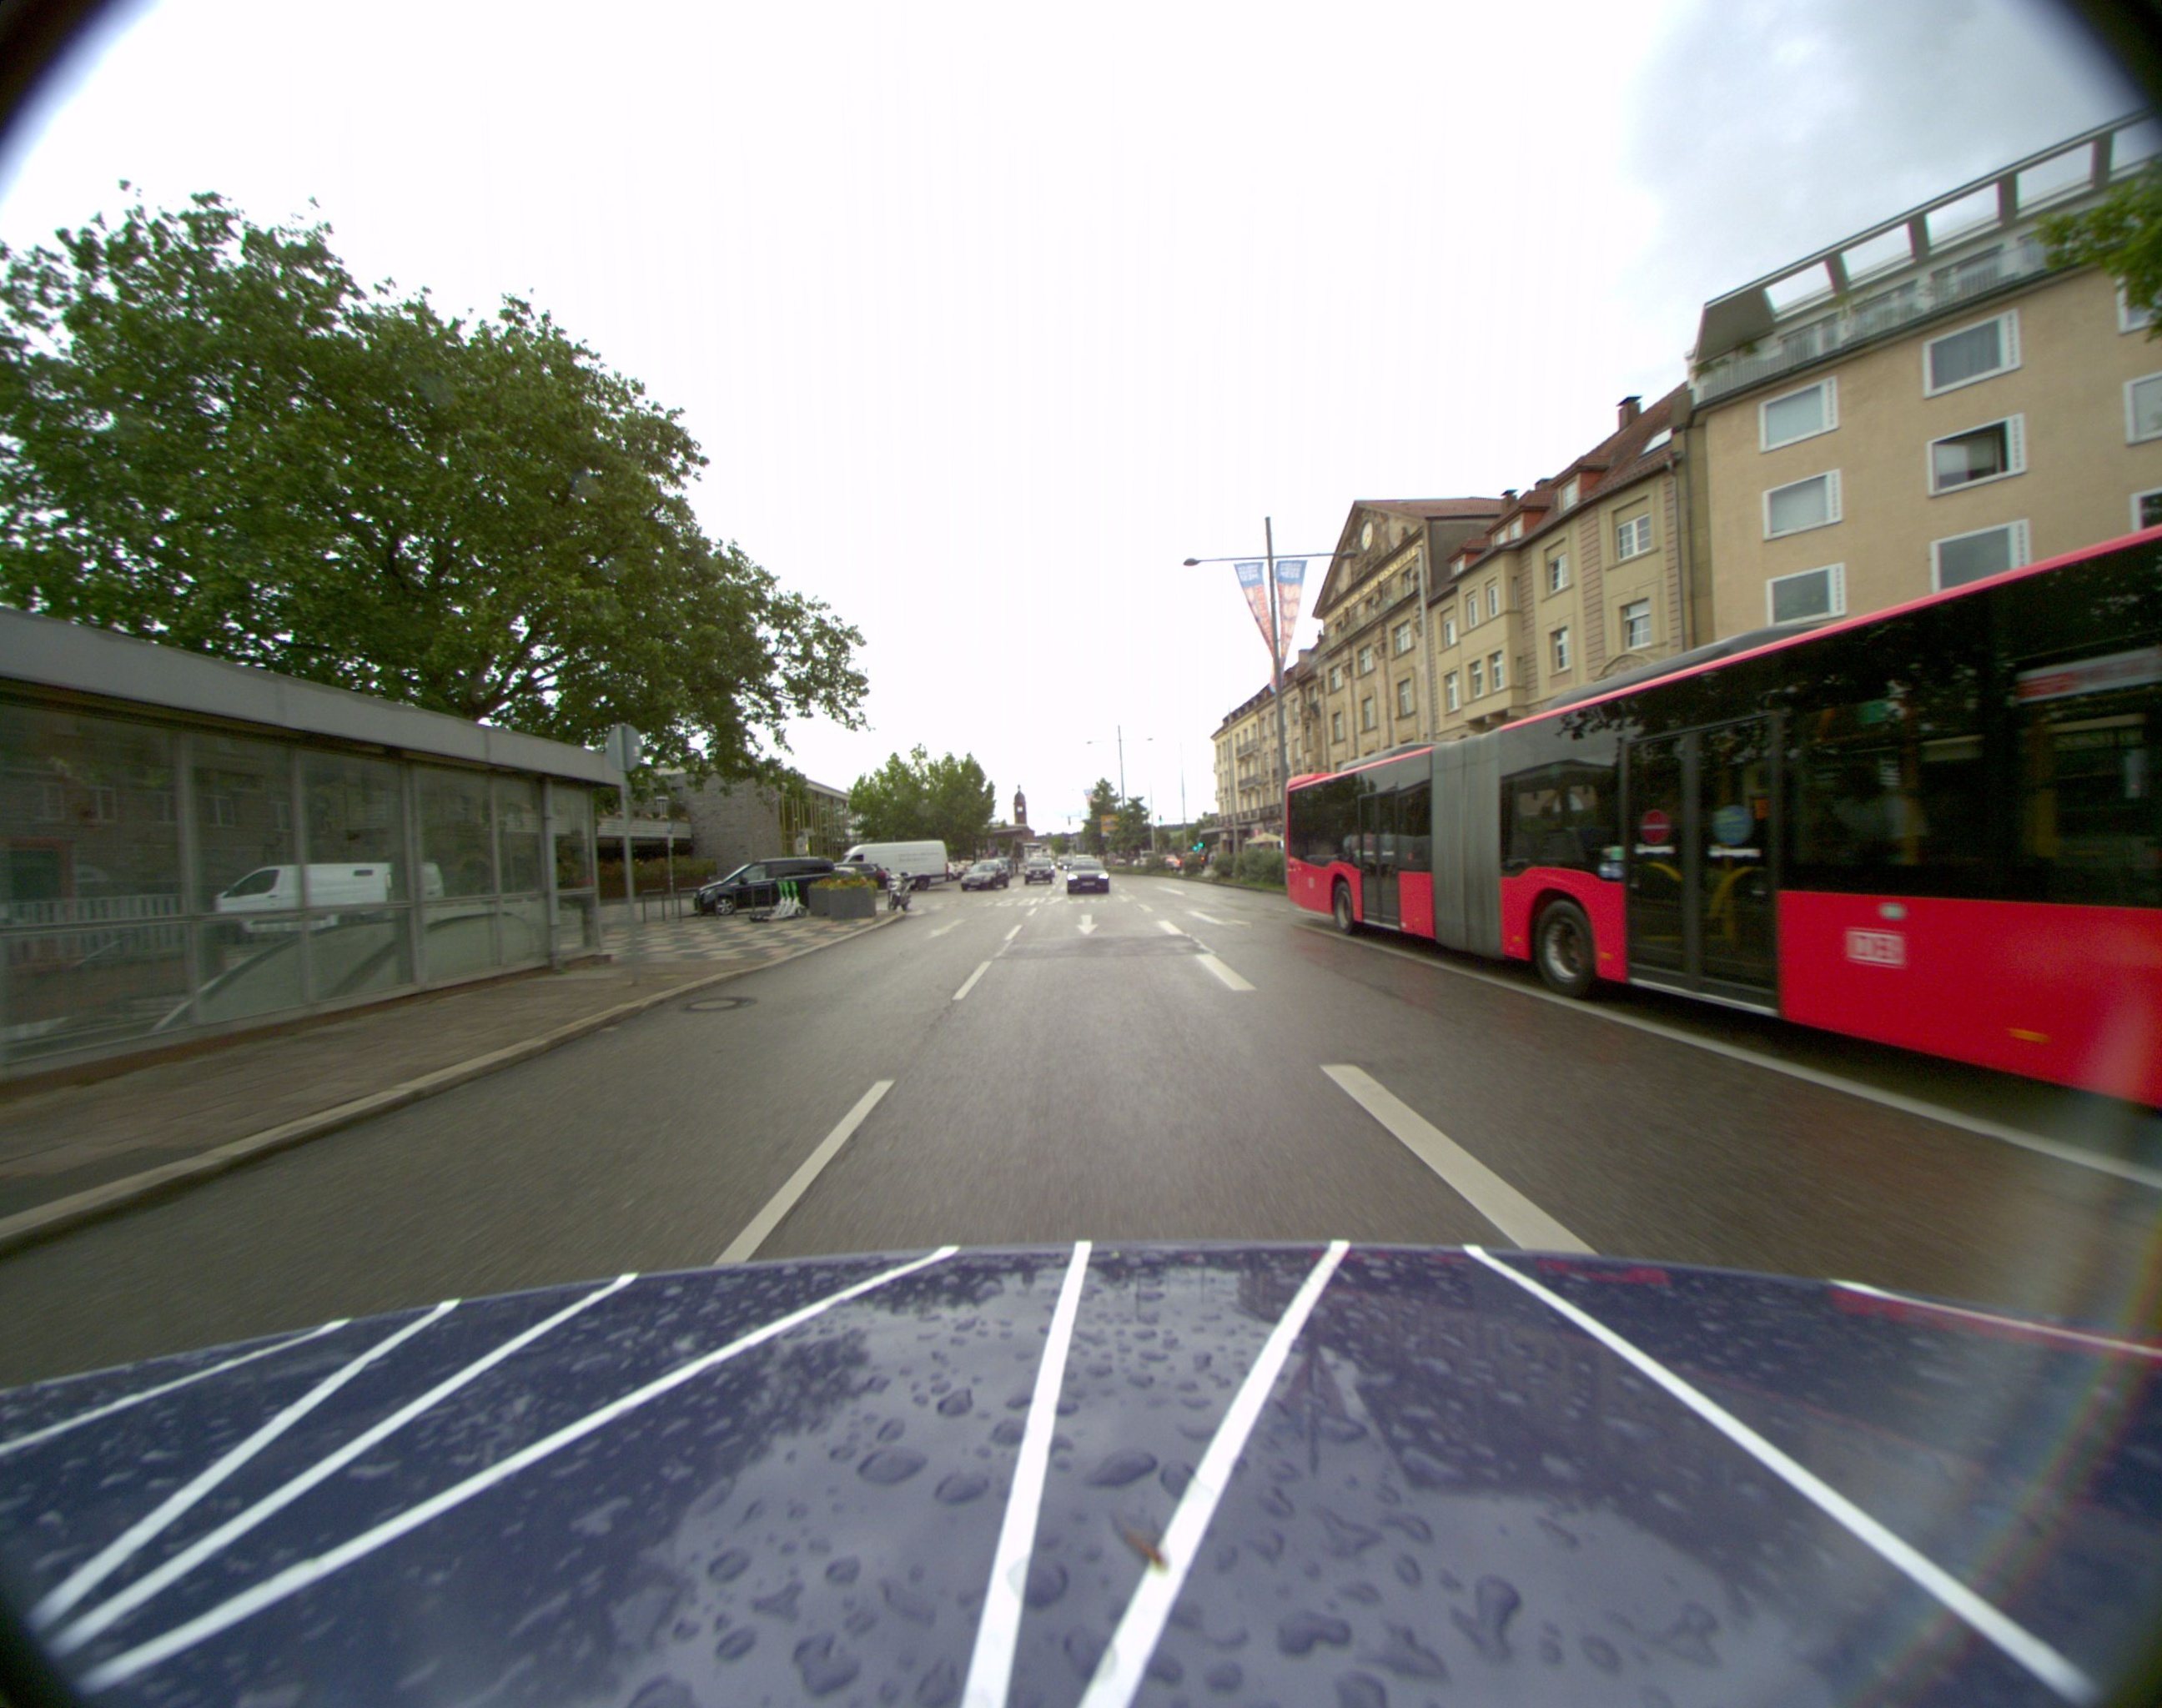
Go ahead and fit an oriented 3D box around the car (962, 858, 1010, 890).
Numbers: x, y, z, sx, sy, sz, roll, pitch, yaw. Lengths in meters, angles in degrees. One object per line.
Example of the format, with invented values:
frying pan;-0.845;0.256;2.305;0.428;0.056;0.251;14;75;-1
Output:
car;-4.896;0.995;39.565;1.871;1.466;3.826;-2;0;2

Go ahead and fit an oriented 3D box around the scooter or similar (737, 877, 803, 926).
scooter or similar;-8.483;1.285;20.811;1.067;1.149;1.667;-3;1;0

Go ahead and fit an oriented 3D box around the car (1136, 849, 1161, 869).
car;7.197;0.529;81.493;1.926;1.962;4.853;-2;0;-5

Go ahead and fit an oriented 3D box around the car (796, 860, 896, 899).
car;-11.244;1.197;36.383;4.243;1.625;1.880;-2;0;-29

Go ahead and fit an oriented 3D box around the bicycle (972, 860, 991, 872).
bicycle;-9.332;1.142;71.394;1.724;1.040;0.523;-3;1;-43

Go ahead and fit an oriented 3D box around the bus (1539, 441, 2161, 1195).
bus;5.839;-0.177;2.948;2.759;3.114;8.842;-2;0;0

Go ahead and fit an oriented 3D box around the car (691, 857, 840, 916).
car;-11.481;1.106;27.739;4.707;1.864;2.104;-2;0;-32

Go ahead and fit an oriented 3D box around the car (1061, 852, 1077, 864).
car;-1.570;0.520;95.840;1.984;1.438;3.907;-1;0;-2

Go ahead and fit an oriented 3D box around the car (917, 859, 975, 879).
car;-10.302;1.129;57.989;3.937;1.391;1.775;-2;0;-29

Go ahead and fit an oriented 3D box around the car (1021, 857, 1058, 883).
car;-2.444;0.929;45.797;1.871;1.466;3.826;-2;0;2

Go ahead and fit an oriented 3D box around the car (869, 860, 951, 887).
car;-10.434;1.150;46.472;4.477;1.462;1.915;-2;0;-30

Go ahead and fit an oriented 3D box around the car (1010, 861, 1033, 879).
car;-5.343;1.419;68.516;1.661;1.466;3.589;-2;0;1

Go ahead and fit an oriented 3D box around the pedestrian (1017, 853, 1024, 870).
pedestrian;-6.125;0.736;76.688;0.560;1.741;0.700;-1;1;4

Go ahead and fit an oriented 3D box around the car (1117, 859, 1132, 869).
car;6.810;1.605;119.814;1.847;1.455;5.029;-2;0;-2

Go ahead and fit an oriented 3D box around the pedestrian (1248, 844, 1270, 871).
pedestrian;13.730;0.265;58.644;0.679;1.896;0.766;31;-9;-4

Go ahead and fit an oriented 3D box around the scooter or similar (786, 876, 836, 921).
scooter or similar;-7.497;1.219;21.149;0.413;1.148;1.265;-4;-1;31

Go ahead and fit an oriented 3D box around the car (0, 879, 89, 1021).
car;-16.722;1.364;9.812;4.698;1.864;2.108;-2;0;-4

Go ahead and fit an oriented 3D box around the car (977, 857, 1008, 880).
car;-6.100;0.966;52.672;1.661;1.466;3.589;-2;0;1

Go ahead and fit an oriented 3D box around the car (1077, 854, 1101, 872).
car;0.697;0.721;64.391;1.983;1.438;3.908;-1;0;1

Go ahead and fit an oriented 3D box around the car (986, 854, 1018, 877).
car;-5.991;0.845;58.323;1.824;1.672;4.417;-2;0;2

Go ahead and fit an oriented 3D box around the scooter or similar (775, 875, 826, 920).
scooter or similar;-7.882;1.215;21.375;0.413;1.148;1.265;-4;1;31

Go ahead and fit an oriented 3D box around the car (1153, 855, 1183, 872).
car;7.654;0.793;67.529;1.796;1.398;4.983;-2;0;-3

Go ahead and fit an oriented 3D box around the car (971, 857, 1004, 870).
car;-11.394;1.160;92.268;1.825;1.482;4.148;-2;0;-43

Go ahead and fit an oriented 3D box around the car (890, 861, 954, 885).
car;-10.342;1.207;49.453;3.695;1.391;1.775;-2;0;-29

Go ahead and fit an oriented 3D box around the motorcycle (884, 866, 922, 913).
motorcycle;-5.601;1.094;23.986;0.645;1.344;2.109;-2;0;0

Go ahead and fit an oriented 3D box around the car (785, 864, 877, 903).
car;-10.995;1.261;33.393;3.595;1.515;1.759;-2;0;-26

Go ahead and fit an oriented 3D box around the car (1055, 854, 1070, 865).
car;-2.753;0.832;112.537;2.055;1.581;4.076;-2;0;-4

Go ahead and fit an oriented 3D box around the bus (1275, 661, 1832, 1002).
bus;5.874;-0.238;12.347;2.817;3.227;9.912;-2;0;0

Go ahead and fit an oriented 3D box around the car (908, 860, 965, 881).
car;-10.483;1.163;55.018;3.625;1.391;1.775;-2;0;-29

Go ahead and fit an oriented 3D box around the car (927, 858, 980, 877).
car;-10.352;1.110;61.614;3.935;1.391;1.776;-2;0;-22

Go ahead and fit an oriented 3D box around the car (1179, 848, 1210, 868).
car;10.486;0.353;70.485;1.999;1.670;4.100;-2;0;-4

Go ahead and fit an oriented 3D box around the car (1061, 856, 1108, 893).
car;0.203;0.858;33.176;1.871;1.466;3.826;-2;0;2

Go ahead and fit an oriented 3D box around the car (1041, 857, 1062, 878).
car;-2.306;1.047;59.809;1.620;1.477;3.669;-2;0;-2

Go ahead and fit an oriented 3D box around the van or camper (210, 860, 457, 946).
van or camper;-19.467;1.228;19.973;4.290;1.979;2.020;-2;0;-3

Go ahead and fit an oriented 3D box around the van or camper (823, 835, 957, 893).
van or camper;-10.273;0.485;41.094;6.540;2.853;2.275;-2;1;-31
